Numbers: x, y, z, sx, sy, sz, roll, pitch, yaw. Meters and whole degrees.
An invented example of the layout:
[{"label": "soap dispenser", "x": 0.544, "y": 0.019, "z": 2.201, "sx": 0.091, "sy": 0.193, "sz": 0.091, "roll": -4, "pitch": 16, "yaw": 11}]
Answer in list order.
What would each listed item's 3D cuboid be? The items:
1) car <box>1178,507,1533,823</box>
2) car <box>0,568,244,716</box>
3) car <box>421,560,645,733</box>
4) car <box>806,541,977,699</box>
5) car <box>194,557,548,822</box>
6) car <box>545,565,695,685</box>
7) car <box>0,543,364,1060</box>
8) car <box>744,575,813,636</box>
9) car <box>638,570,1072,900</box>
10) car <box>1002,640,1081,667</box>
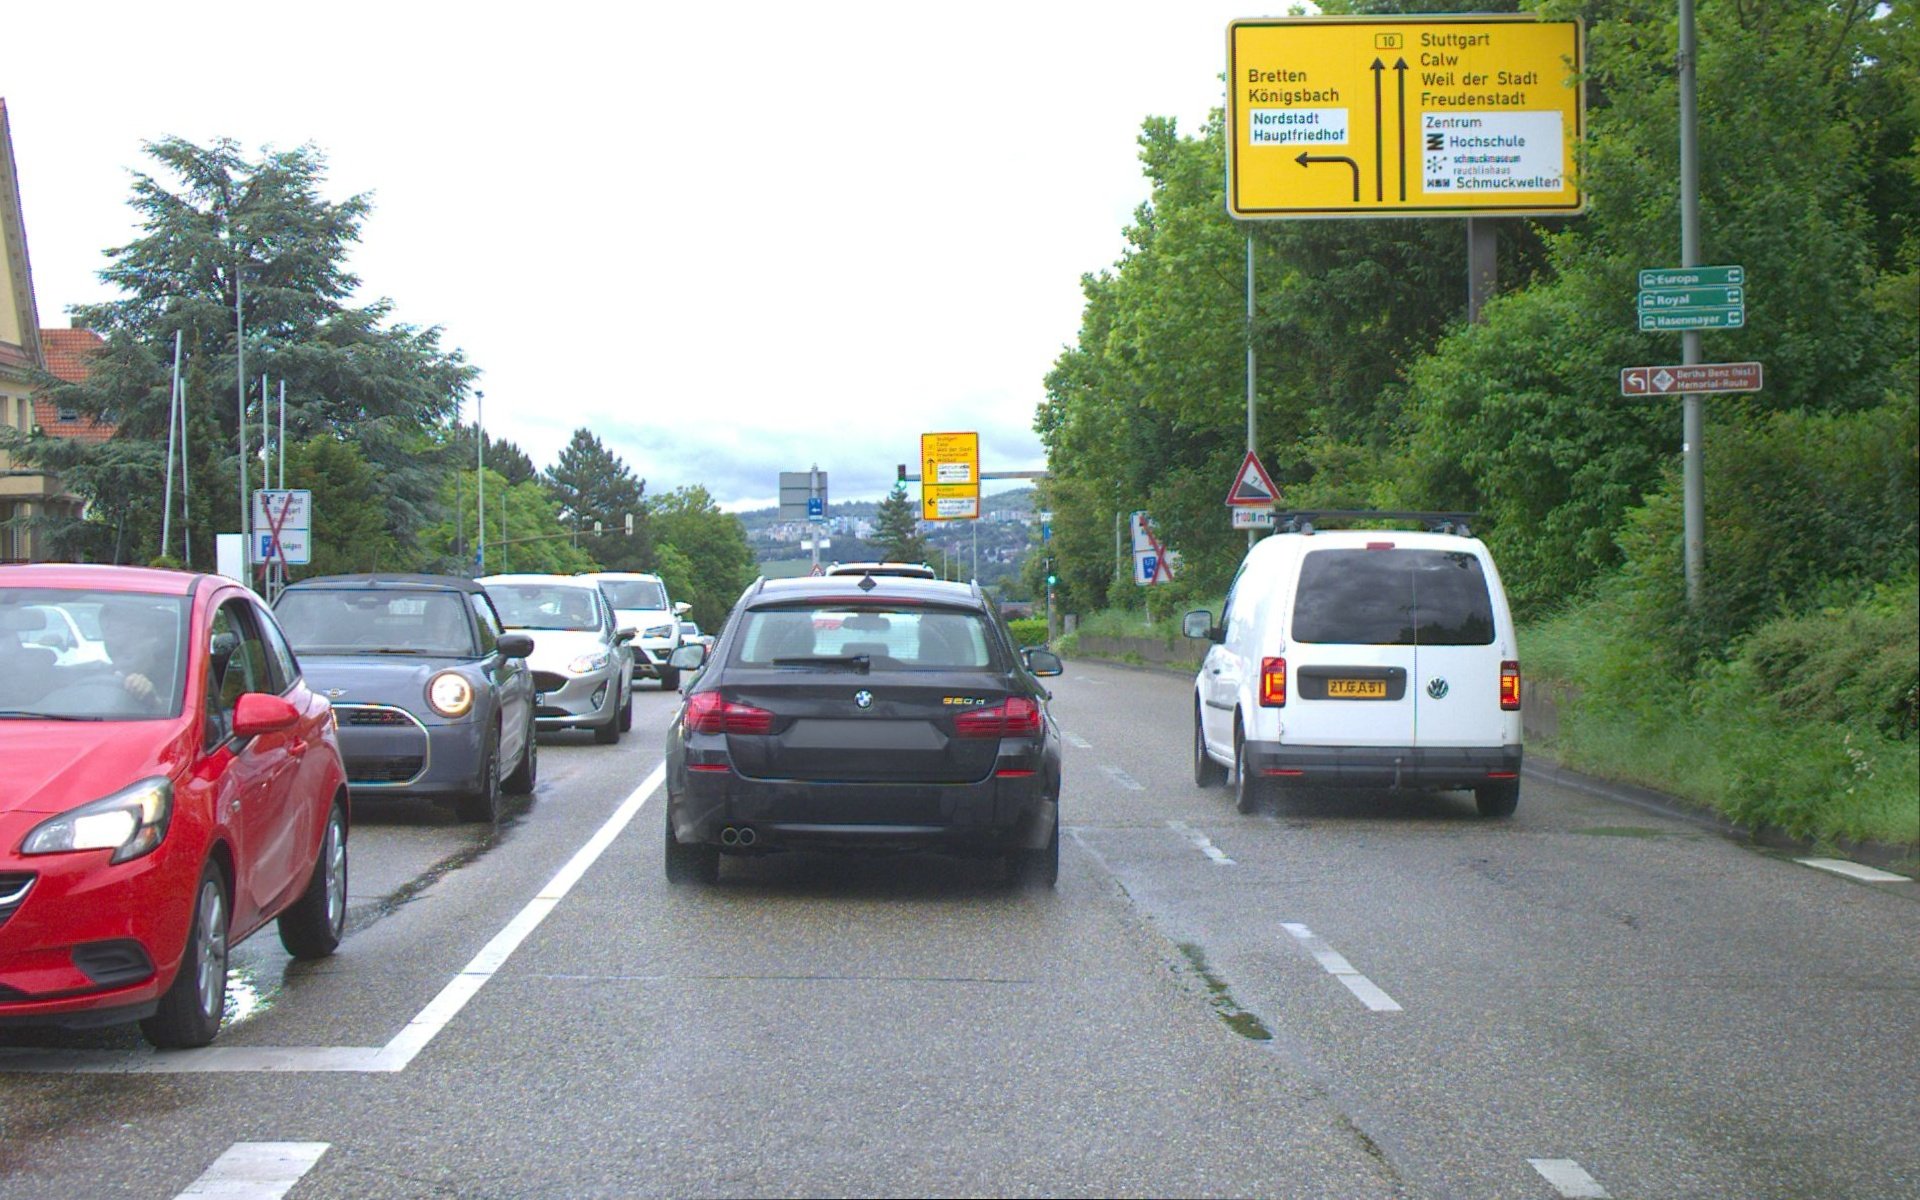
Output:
[{"label": "car", "x": 2.486, "y": 0.338, "z": 22.477, "sx": 1.764, "sy": 1.871, "sz": 3.806, "roll": 0, "pitch": 2, "yaw": -2}, {"label": "car", "x": -9.457, "y": 0.433, "z": 36.323, "sx": 4.041, "sy": 1.472, "sz": 1.638, "roll": -1, "pitch": 0, "yaw": 42}, {"label": "car", "x": -3.747, "y": 0.388, "z": 30.688, "sx": 1.601, "sy": 1.436, "sz": 3.949, "roll": 1, "pitch": 0, "yaw": -2}, {"label": "car", "x": -0.774, "y": 0.189, "z": 39.781, "sx": 1.868, "sy": 1.668, "sz": 4.000, "roll": 0, "pitch": 2, "yaw": -1}, {"label": "car", "x": -3.531, "y": 0.478, "z": 21.204, "sx": 1.601, "sy": 1.436, "sz": 3.949, "roll": 1, "pitch": 1, "yaw": -2}, {"label": "car", "x": -4.627, "y": 0.330, "z": 47.258, "sx": 1.787, "sy": 1.575, "sz": 4.239, "roll": 0, "pitch": 0, "yaw": -2}, {"label": "car", "x": -3.145, "y": 0.568, "z": 11.604, "sx": 1.632, "sy": 1.429, "sz": 4.144, "roll": -1, "pitch": 0, "yaw": -2}, {"label": "car", "x": -5.394, "y": 0.143, "z": 102.689, "sx": 1.868, "sy": 1.668, "sz": 4.000, "roll": 0, "pitch": 2, "yaw": -1}, {"label": "car", "x": -0.479, "y": 0.587, "z": 17.087, "sx": 1.899, "sy": 1.437, "sz": 4.000, "roll": 0, "pitch": 0, "yaw": -1}, {"label": "car", "x": 4.187, "y": 2.725, "z": 176.762, "sx": 3.987, "sy": 1.372, "sz": 1.585, "roll": 0, "pitch": -1, "yaw": 3}]
